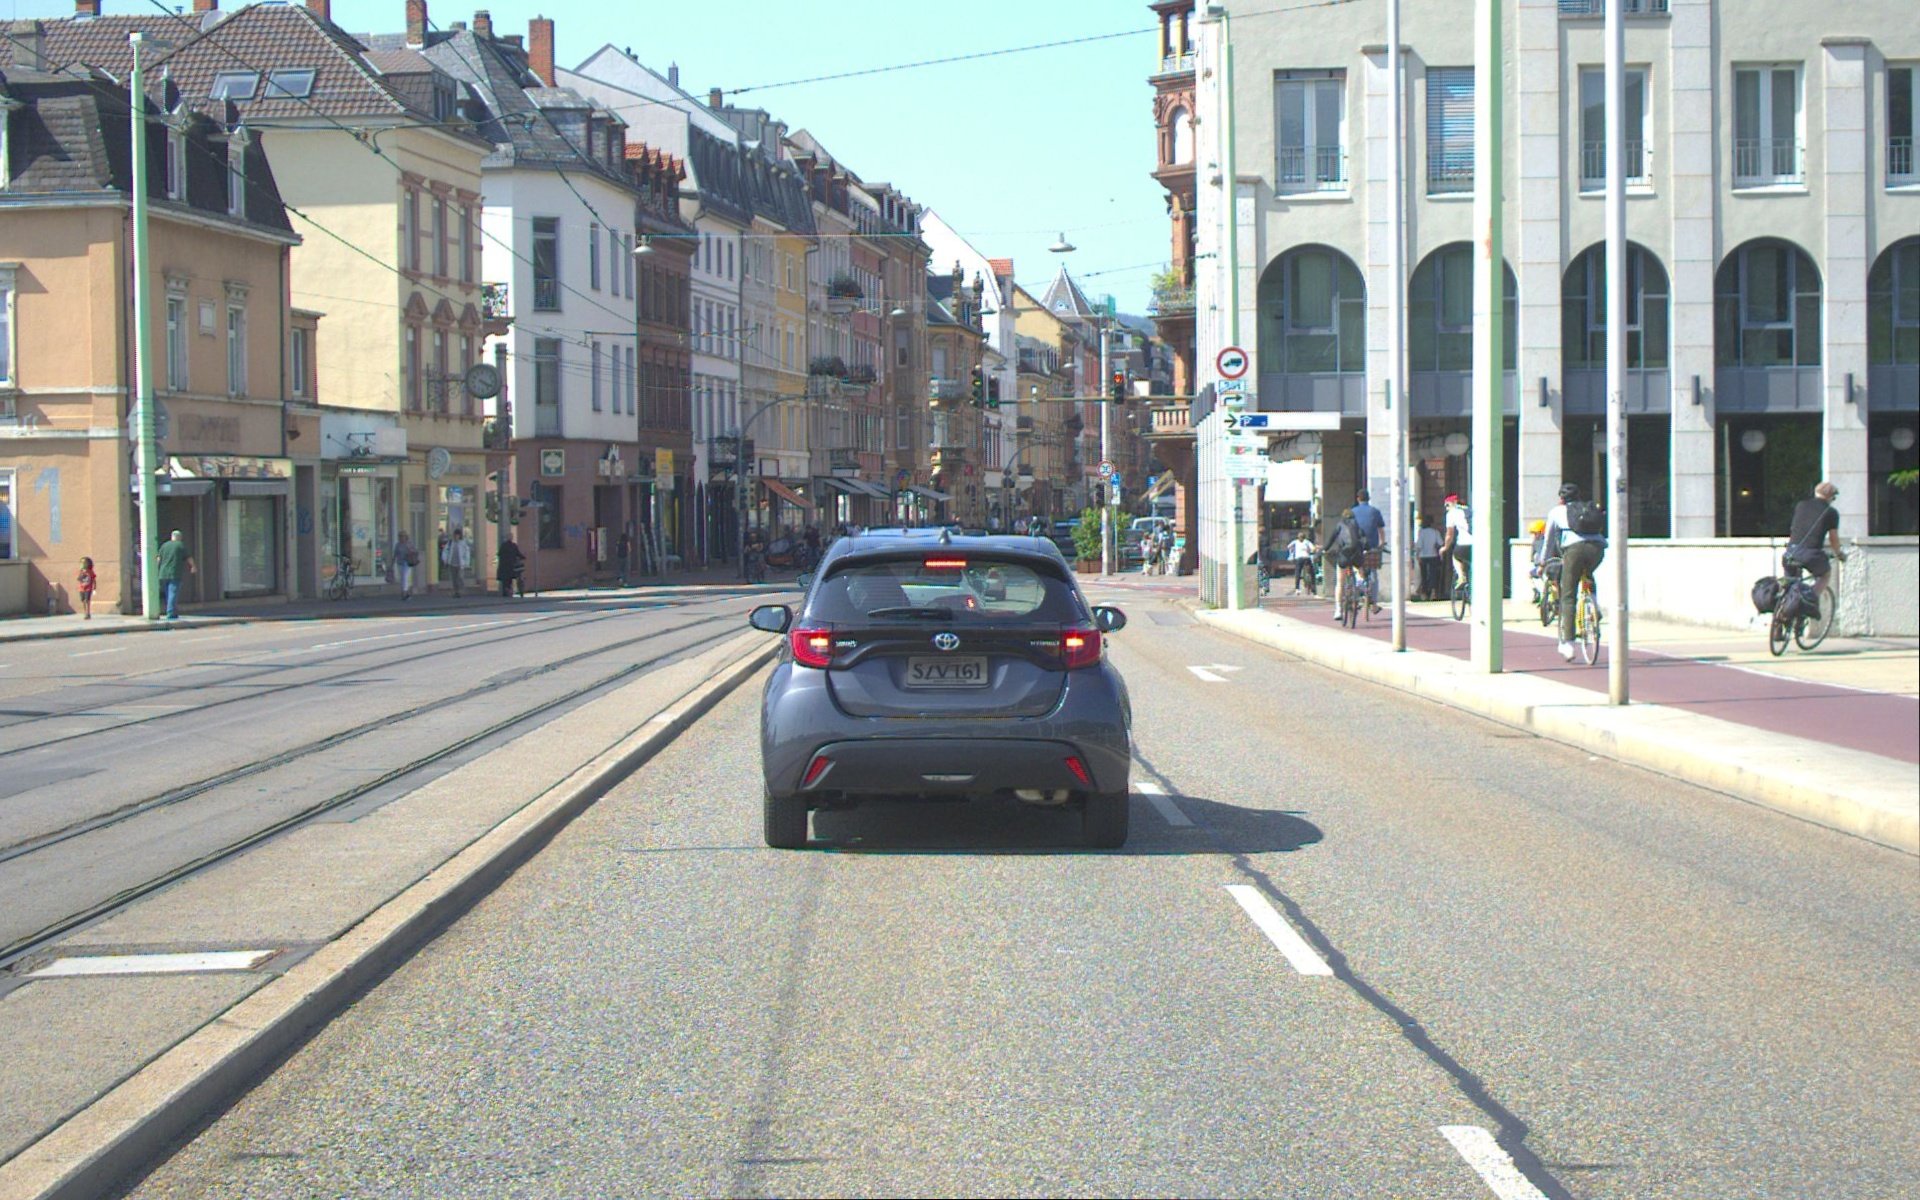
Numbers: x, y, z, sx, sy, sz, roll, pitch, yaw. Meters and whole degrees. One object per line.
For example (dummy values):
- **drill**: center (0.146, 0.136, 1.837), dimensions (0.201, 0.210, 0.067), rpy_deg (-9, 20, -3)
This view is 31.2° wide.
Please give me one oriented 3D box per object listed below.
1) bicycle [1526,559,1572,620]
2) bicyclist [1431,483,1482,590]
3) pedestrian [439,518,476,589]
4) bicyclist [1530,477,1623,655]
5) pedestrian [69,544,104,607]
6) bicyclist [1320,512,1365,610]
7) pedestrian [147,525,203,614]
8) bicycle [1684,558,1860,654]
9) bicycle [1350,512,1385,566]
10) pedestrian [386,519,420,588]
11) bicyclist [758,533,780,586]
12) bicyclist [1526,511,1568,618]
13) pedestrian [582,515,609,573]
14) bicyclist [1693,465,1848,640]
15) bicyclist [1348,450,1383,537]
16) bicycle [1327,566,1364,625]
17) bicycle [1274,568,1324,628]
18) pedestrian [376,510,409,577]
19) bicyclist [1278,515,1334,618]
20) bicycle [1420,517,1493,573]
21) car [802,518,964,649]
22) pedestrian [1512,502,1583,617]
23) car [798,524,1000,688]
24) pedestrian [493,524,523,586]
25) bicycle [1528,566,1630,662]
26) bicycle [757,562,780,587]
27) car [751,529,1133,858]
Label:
- **bicycle**: center (7.755, -0.144, 45.296), dimensions (0.416, 0.763, 0.962), rpy_deg (-2, 1, 0)
- **bicyclist**: center (6.933, -0.885, 47.981), dimensions (0.484, 1.461, 0.443), rpy_deg (-3, 1, -39)
- **pedestrian**: center (-12.766, -1.179, 87.357), dimensions (0.736, 1.760, 0.787), rpy_deg (4, 1, 0)
- **bicyclist**: center (5.977, -0.332, 33.369), dimensions (0.701, 1.689, 0.924), rpy_deg (-1, 1, 0)
- **pedestrian**: center (-16.355, -0.457, 64.372), dimensions (0.412, 1.142, 0.544), rpy_deg (4, 1, 7)
- **bicyclist**: center (5.197, -0.535, 46.771), dimensions (0.538, 1.312, 0.672), rpy_deg (-2, 1, 5)
- **pedestrian**: center (-15.025, -0.585, 65.789), dimensions (0.762, 1.648, 0.711), rpy_deg (4, 1, 6)
- **bicycle**: center (8.074, 0.053, 34.143), dimensions (1.823, 0.879, 0.800), rpy_deg (-3, 2, -42)
- **bicycle**: center (5.936, -0.895, 50.103), dimensions (0.416, 0.763, 0.962), rpy_deg (-2, 1, 3)
- **pedestrian**: center (-13.372, -1.111, 82.550), dimensions (0.649, 1.596, 0.566), rpy_deg (4, 3, 0)
- **bicyclist**: center (-6.033, -1.278, 108.443), dimensions (0.627, 1.644, 0.622), rpy_deg (1, 2, 0)
- **bicyclist**: center (7.735, -0.469, 45.311), dimensions (0.422, 1.378, 0.443), rpy_deg (-2, 1, 0)
- **pedestrian**: center (-11.301, -1.740, 106.647), dimensions (0.736, 1.760, 0.787), rpy_deg (0, 2, 0)
- **bicyclist**: center (8.042, -0.475, 34.116), dimensions (0.922, 1.689, 1.142), rpy_deg (-2, 1, -42)
- **bicyclist**: center (5.908, -1.547, 50.120), dimensions (0.422, 1.252, 0.443), rpy_deg (-2, 1, 3)
- **bicycle**: center (5.241, -0.068, 46.731), dimensions (0.416, 0.763, 1.205), rpy_deg (-2, 1, 4)
- **bicycle**: center (8.595, -0.063, 87.032), dimensions (1.112, 1.415, 3.006), rpy_deg (4, 1, 6)
- **pedestrian**: center (-14.224, -1.417, 86.158), dimensions (0.649, 1.596, 0.566), rpy_deg (4, 3, 0)
- **bicyclist**: center (8.793, -0.857, 87.367), dimensions (1.228, 2.520, 1.104), rpy_deg (4, 1, 6)
- **bicycle**: center (6.930, -0.765, 47.997), dimensions (0.416, 0.763, 0.961), rpy_deg (-3, 1, -39)
- **car**: center (-0.936, -0.236, 42.752), dimensions (1.897, 1.525, 4.000), rpy_deg (1, 1, -1)
- **pedestrian**: center (8.555, -0.592, 50.104), dimensions (0.739, 1.609, 1.016), rpy_deg (4, 1, -1)
- **car**: center (-0.604, 0.013, 34.567), dimensions (1.897, 1.525, 4.000), rpy_deg (1, 1, -1)
- **pedestrian**: center (-12.260, -1.223, 93.175), dimensions (0.649, 1.596, 0.566), rpy_deg (4, 3, 0)
- **bicycle**: center (5.998, 0.123, 33.388), dimensions (0.704, 0.879, 1.525), rpy_deg (-1, 1, 0)
- **bicycle**: center (-6.039, -0.810, 108.527), dimensions (0.620, 0.713, 1.771), rpy_deg (1, 2, 0)
- **car**: center (-0.107, 0.388, 17.469), dimensions (1.720, 1.468, 3.658), rpy_deg (1, 1, -1)
